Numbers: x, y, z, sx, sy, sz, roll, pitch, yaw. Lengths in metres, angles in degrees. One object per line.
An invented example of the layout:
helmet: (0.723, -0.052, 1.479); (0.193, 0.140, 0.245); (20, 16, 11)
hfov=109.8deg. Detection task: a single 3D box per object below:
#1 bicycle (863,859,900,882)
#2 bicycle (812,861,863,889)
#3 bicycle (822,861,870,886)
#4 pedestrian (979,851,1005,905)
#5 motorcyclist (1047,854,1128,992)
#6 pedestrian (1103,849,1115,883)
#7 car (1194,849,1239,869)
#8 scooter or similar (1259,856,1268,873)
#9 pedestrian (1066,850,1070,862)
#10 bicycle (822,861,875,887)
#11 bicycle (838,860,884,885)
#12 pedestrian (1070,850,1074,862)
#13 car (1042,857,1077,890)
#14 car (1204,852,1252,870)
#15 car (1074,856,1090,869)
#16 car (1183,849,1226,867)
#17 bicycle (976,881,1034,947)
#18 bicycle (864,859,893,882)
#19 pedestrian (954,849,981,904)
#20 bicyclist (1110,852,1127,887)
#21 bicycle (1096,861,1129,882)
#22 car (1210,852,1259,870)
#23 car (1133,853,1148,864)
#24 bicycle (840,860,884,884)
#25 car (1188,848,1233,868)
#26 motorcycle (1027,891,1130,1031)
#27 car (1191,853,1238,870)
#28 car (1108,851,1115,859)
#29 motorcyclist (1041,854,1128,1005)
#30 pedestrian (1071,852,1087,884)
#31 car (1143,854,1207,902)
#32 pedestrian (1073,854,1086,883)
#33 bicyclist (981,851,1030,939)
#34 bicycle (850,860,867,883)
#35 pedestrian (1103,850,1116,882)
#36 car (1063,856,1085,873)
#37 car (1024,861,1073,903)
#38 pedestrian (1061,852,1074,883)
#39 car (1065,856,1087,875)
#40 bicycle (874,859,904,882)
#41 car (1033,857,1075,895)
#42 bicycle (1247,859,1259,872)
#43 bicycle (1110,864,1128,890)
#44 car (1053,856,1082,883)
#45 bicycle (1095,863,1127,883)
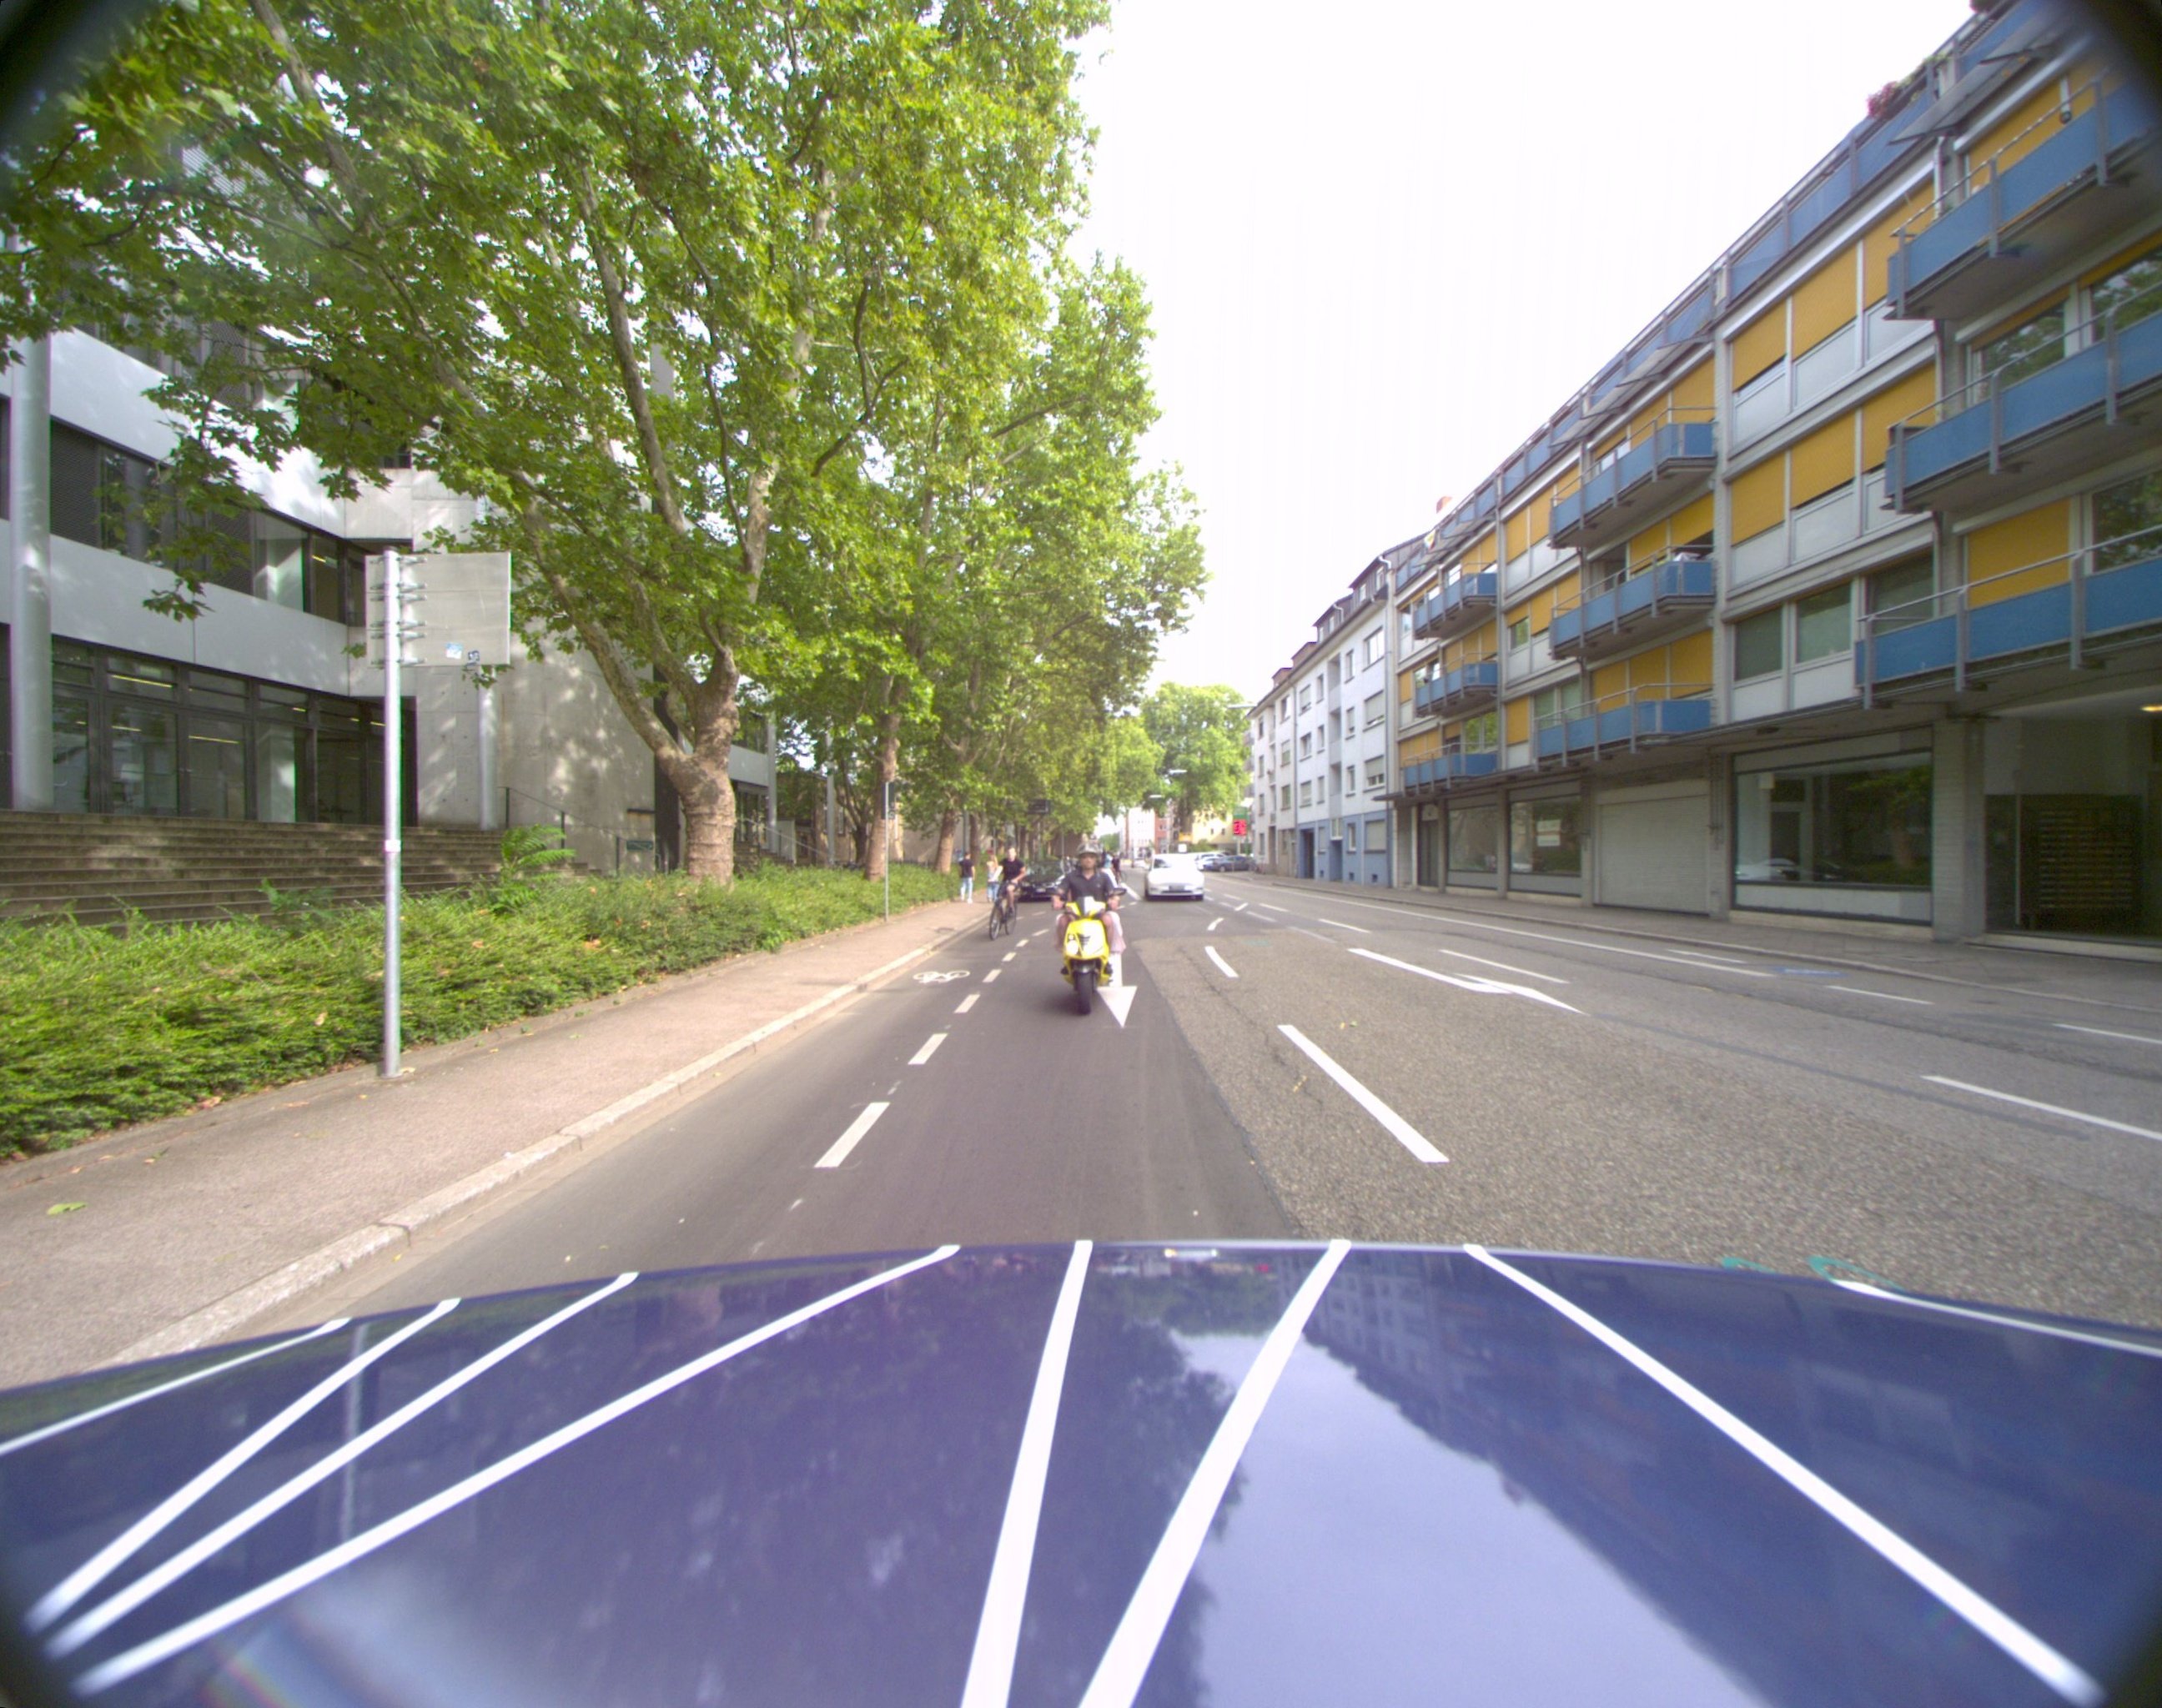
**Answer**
bicycle: (-9.828, 0.831, 37.456); (1.701, 1.111, 0.622); (0, 0, -18)
bicycle: (-10.161, 0.871, 31.732); (1.919, 1.111, 0.673); (1, 0, 1)
bicycle: (-10.550, 0.860, 34.118); (1.919, 1.111, 0.673); (1, 0, 1)
pedestrian: (-2.984, 0.780, 25.570); (0.712, 1.773, 1.033); (1, 1, 0)
motorcyclist: (0.096, 0.806, 9.196); (0.904, 1.608, 0.691); (-1, 1, 5)
pedestrian: (1.624, 0.672, 43.989); (0.476, 1.923, 0.744); (-2, 1, -10)
car: (14.005, 0.476, 78.732); (4.221, 1.837, 1.924); (-3, 0, 1)
scooter or similar: (13.212, 0.735, 55.083); (0.350, 1.214, 1.202); (-2, 0, 1)
pedestrian: (-1.990, 0.331, 113.077); (0.502, 1.775, 0.527); (3, 1, 0)
bicycle: (-10.110, 0.858, 33.068); (2.084, 1.111, 0.673); (1, 0, 1)
bicycle: (-10.182, 0.843, 35.135); (1.919, 1.111, 0.673); (1, 0, 1)
pedestrian: (-1.331, 0.327, 113.096); (0.592, 1.775, 0.476); (3, 1, 0)
car: (-1.051, 0.958, 38.335); (1.532, 1.493, 3.660); (-2, 0, 1)
car: (14.225, 0.669, 73.742); (4.311, 1.442, 1.910); (-3, 0, 1)
car: (0.128, 0.990, 88.102); (1.643, 1.424, 4.574); (-2, 0, 1)
car: (14.182, 0.492, 87.745); (4.627, 1.848, 1.950); (-3, 0, 2)
bicycle: (-1.490, 1.160, 15.228); (0.763, 1.162, 1.950); (-1, 0, 6)
bicycle: (-10.109, 0.838, 38.039); (1.383, 1.111, 0.510); (0, 1, -14)
pedestrian: (-3.804, 0.740, 25.600); (0.716, 1.789, 1.033); (1, 1, 0)
bicyclist: (1.734, 0.716, 35.107); (0.748, 1.590, 0.819); (-1, 0, 2)
bicycle: (1.851, 1.018, 44.891); (1.796, 1.210, 0.552); (-2, 1, -16)
car: (14.327, 0.638, 71.191); (4.161, 1.504, 1.837); (-3, 0, 1)
car: (8.120, 0.594, 104.334); (1.762, 1.419, 4.098); (1, 0, 0)
bicycle: (-10.426, 0.840, 36.227); (1.919, 1.111, 0.673); (1, 0, 1)
car: (14.536, 0.433, 85.496); (4.778, 1.923, 1.994); (-3, 0, 2)
motorcycle: (0.058, 1.072, 8.486); (0.904, 1.190, 2.631); (-1, 0, 5)
car: (13.318, 0.709, 76.029); (4.281, 1.442, 1.874); (-3, 0, 1)
car: (9.903, 0.208, 247.212); (1.998, 2.546, 4.799); (-1, 0, 2)
motorcyclist: (0.060, 0.812, 8.488); (0.904, 1.608, 0.691); (-1, 1, 5)
pedestrian: (-0.118, 0.774, 43.204); (0.873, 1.806, 0.780); (-2, 1, 1)
car: (3.292, 0.799, 27.446); (2.000, 1.556, 4.552); (-1, 0, 3)
pedestrian: (-0.080, 0.842, 43.983); (0.723, 1.648, 0.655); (-2, 1, 1)
bicyclist: (-1.496, 0.808, 15.236); (0.764, 1.698, 0.918); (-1, 0, 5)
bicycle: (-10.996, 0.849, 37.596); (0.492, 1.111, 1.437); (0, 0, -4)
pedestrian: (1.687, 0.699, 45.156); (0.522, 1.834, 0.744); (-2, 1, -14)
car: (-0.606, 0.945, 68.973); (1.758, 1.438, 4.218); (-2, 0, 2)
car: (-1.231, 1.012, 29.367); (1.702, 1.417, 4.421); (-2, 0, -1)
pedestrian: (-0.800, 0.785, 44.993); (0.723, 1.844, 0.703); (-2, 1, 1)
car: (-0.452, 0.957, 64.719); (1.647, 1.438, 3.881); (-2, 0, -3)
bicycle: (-9.762, 0.836, 38.636); (1.382, 1.111, 0.468); (0, 1, -6)
car: (-1.176, 0.940, 33.576); (1.539, 1.534, 2.600); (-2, 0, 4)
bicycle: (13.080, 0.851, 57.793); (0.598, 0.945, 1.663); (-2, 0, 1)
bicycle: (1.733, 1.044, 35.103); (0.763, 1.162, 1.950); (-1, 0, 2)
car: (-0.843, 0.956, 48.163); (1.685, 1.507, 4.543); (-3, 0, -1)
bicycle: (1.731, 1.086, 43.655); (1.740, 1.099, 0.552); (-2, 1, -10)
